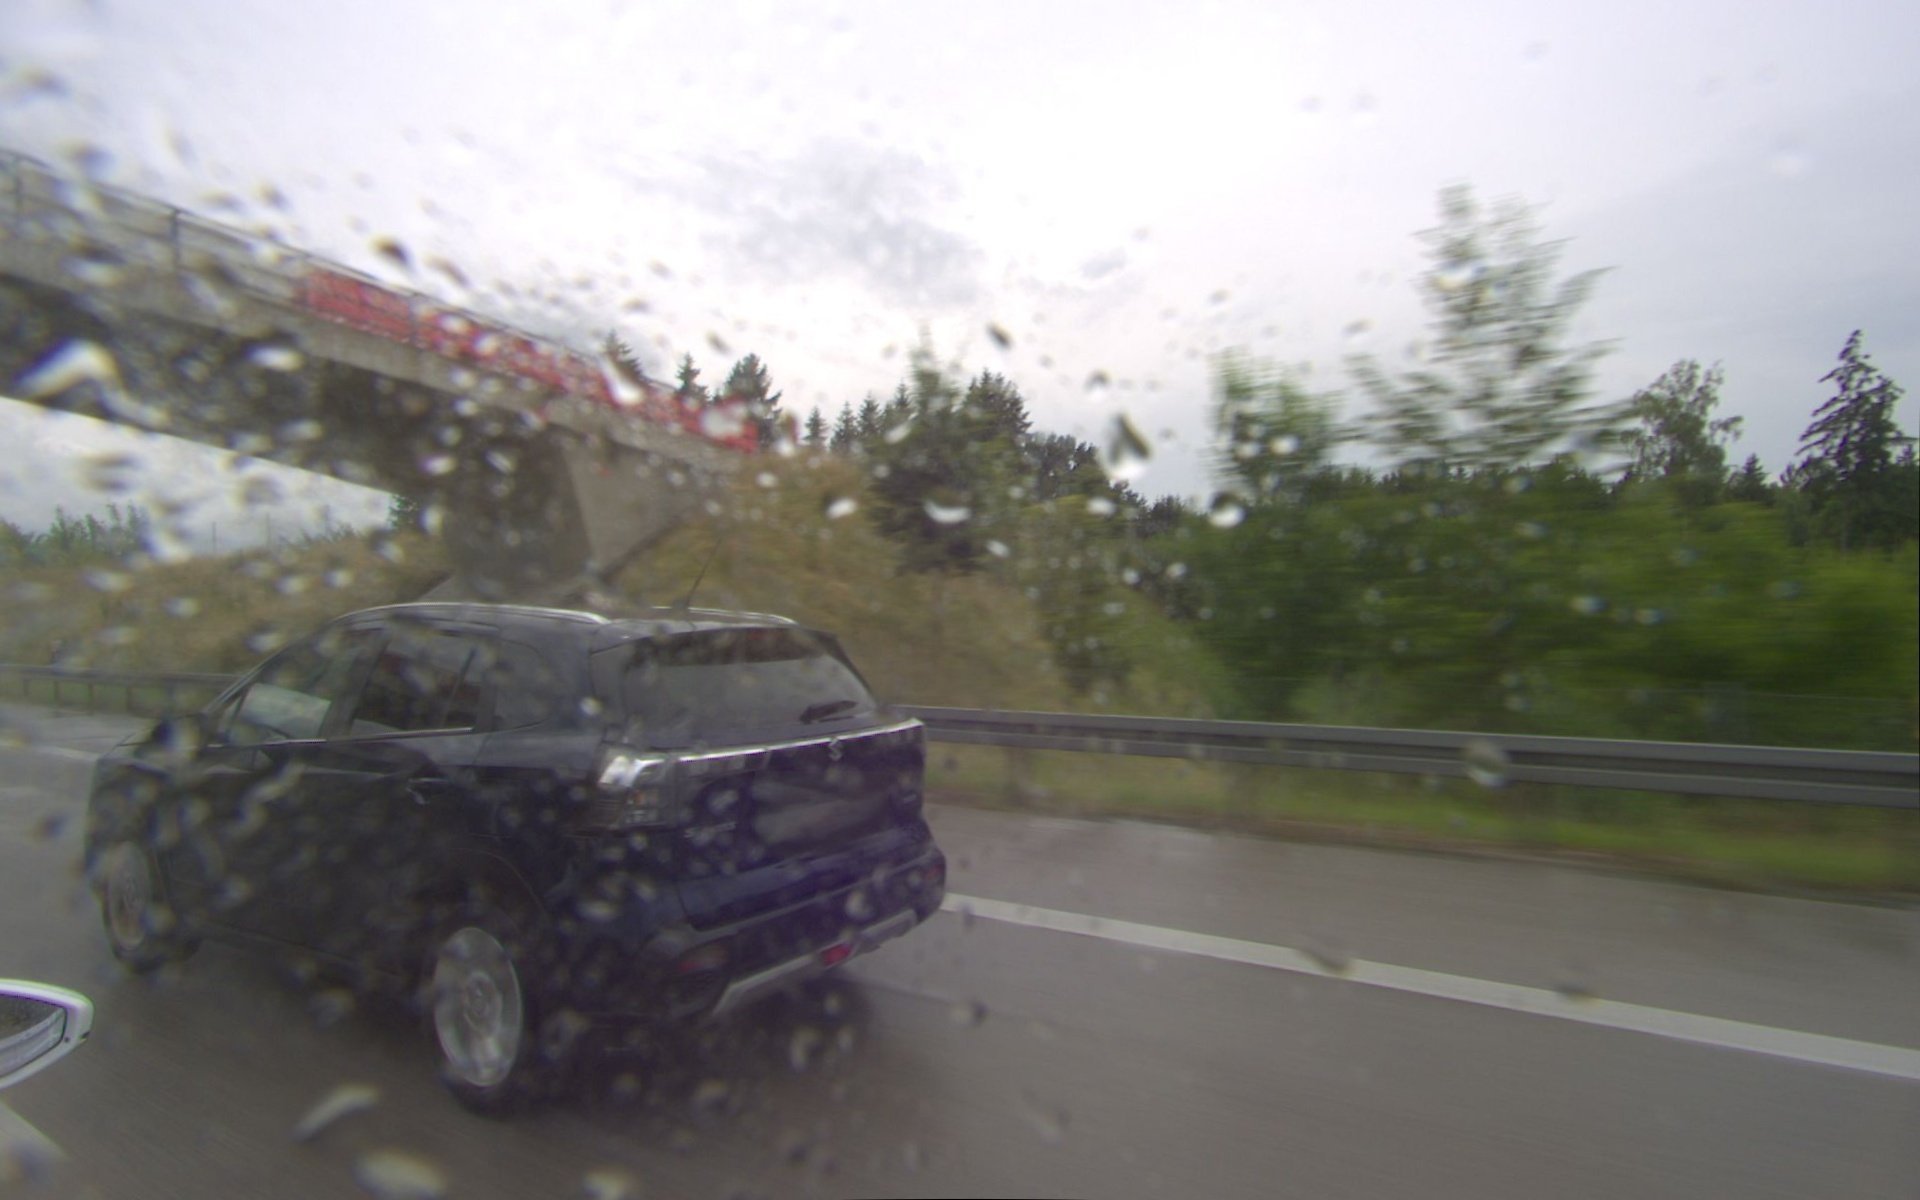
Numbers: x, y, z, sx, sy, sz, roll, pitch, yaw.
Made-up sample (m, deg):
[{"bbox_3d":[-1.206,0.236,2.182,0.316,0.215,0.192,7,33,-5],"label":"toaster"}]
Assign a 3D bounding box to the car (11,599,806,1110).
[{"bbox_3d":[-2.744,0.837,4.892,3.579,1.596,1.891,0,-2,32],"label":"car"}]
